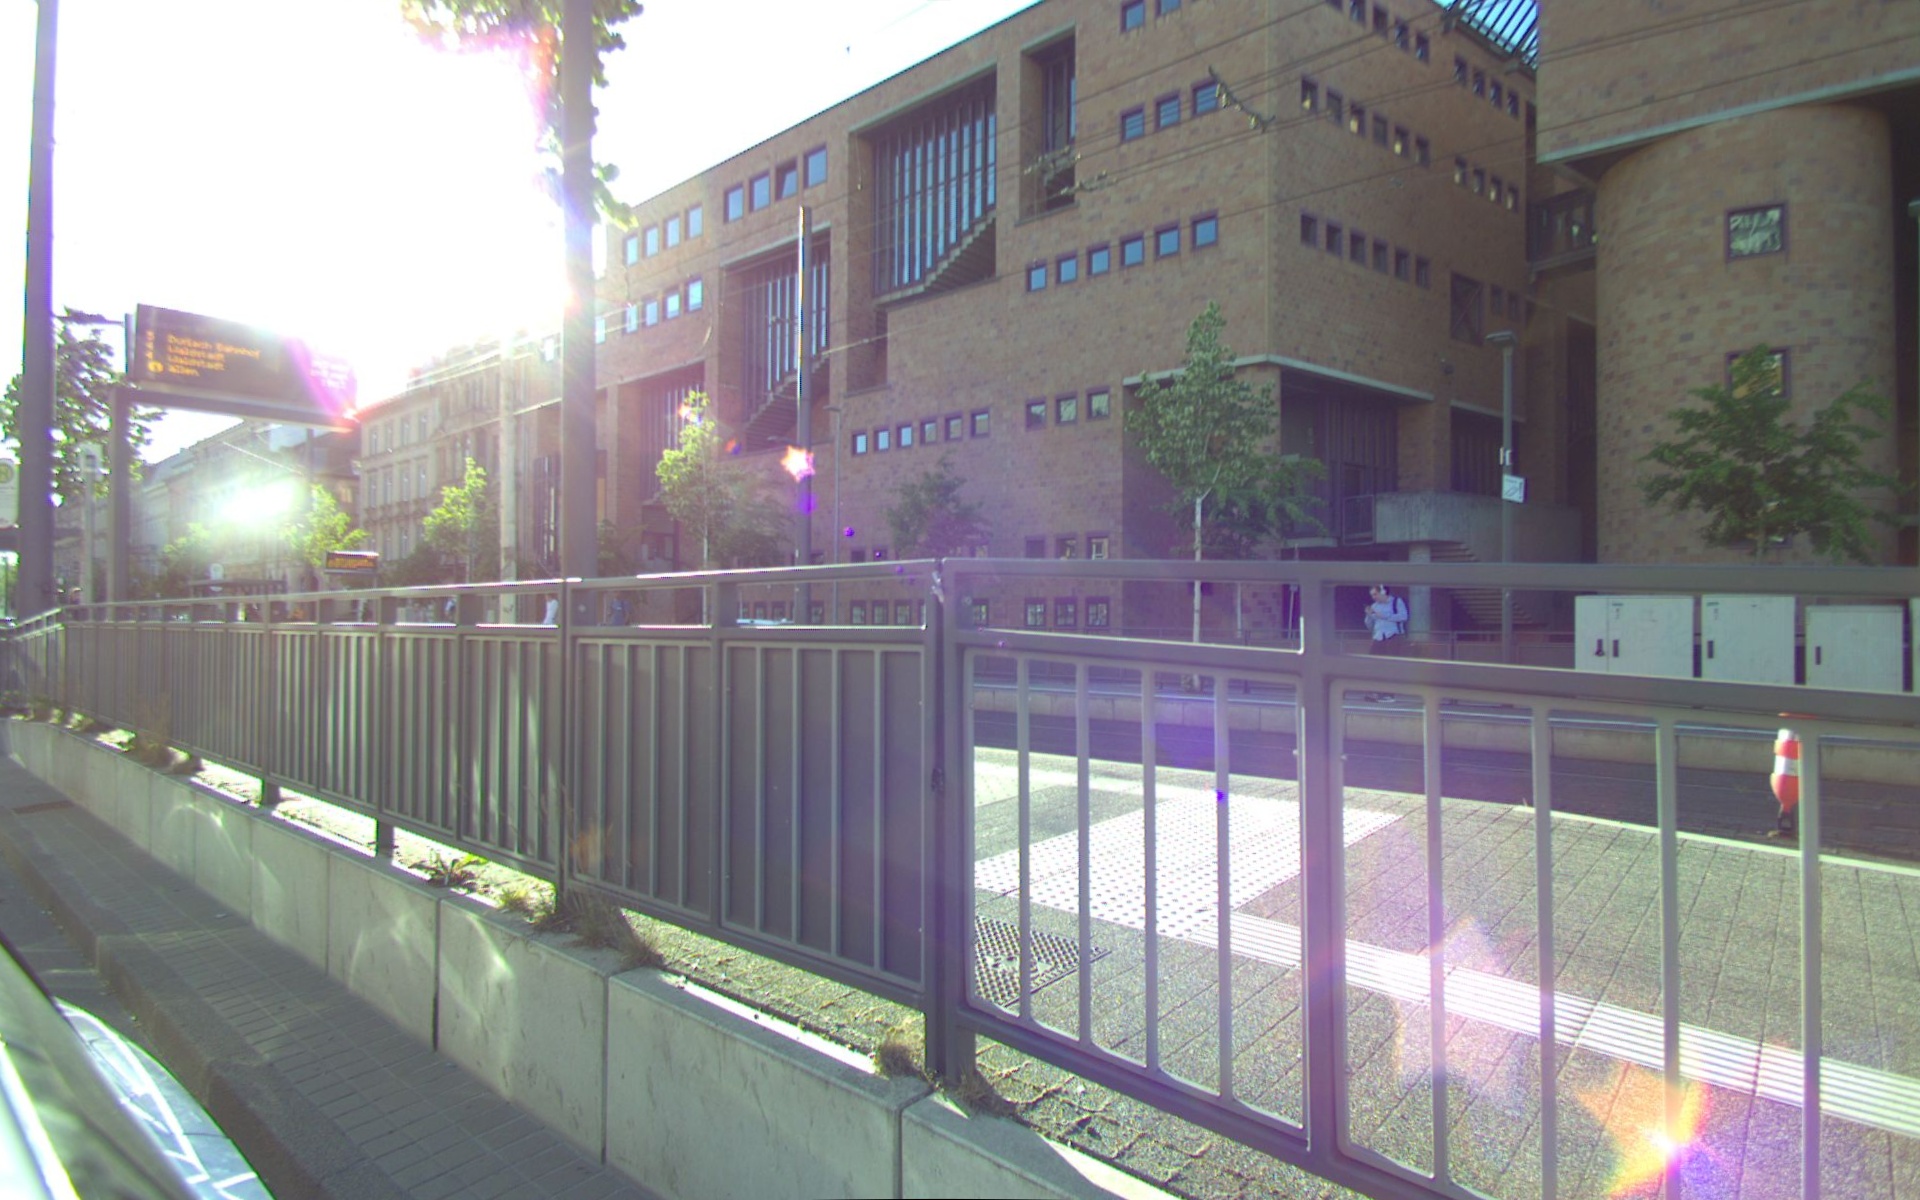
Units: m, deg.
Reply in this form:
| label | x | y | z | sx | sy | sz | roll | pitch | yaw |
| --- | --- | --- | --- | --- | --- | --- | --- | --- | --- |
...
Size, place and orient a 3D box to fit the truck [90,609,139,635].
| label | x | y | z | sx | sy | sz | roll | pitch | yaw |
| --- | --- | --- | --- | --- | --- | --- | --- | --- | --- |
| truck | -65.686 | 1.758 | 78.604 | 5.151 | 1.894 | 1.973 | -2 | -4 | 40 |

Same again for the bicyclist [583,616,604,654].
| label | x | y | z | sx | sy | sz | roll | pitch | yaw |
| --- | --- | --- | --- | --- | --- | --- | --- | --- | --- |
| bicyclist | -15.072 | 1.425 | 41.589 | 0.650 | 1.545 | 0.580 | 0 | 0 | 41 |

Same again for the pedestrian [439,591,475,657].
| label | x | y | z | sx | sy | sz | roll | pitch | yaw |
| --- | --- | --- | --- | --- | --- | --- | --- | --- | --- |
| pedestrian | -14.201 | 0.674 | 28.570 | 0.668 | 1.821 | 0.677 | 0 | 0 | 40 |

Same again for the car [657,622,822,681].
| label | x | y | z | sx | sy | sz | roll | pitch | yaw |
| --- | --- | --- | --- | --- | --- | --- | --- | --- | --- |
| car | -5.913 | 1.320 | 26.866 | 4.522 | 1.441 | 1.808 | -1 | -2 | 37 |

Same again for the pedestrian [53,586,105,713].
| label | x | y | z | sx | sy | sz | roll | pitch | yaw |
| --- | --- | --- | --- | --- | --- | --- | --- | --- | --- |
| pedestrian | -17.552 | 0.962 | 20.164 | 0.625 | 2.461 | 0.676 | 0 | 0 | 38 |

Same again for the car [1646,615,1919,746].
| label | x | y | z | sx | sy | sz | roll | pitch | yaw |
| --- | --- | --- | --- | --- | --- | --- | --- | --- | --- |
| car | 11.077 | 0.933 | 12.503 | 4.234 | 1.441 | 1.808 | 0 | 0 | 37 |

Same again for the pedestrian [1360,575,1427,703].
| label | x | y | z | sx | sy | sz | roll | pitch | yaw |
| --- | --- | --- | --- | --- | --- | --- | --- | --- | --- |
| pedestrian | 5.769 | 0.499 | 13.462 | 0.684 | 1.647 | 0.660 | 0 | 0 | 37 |
